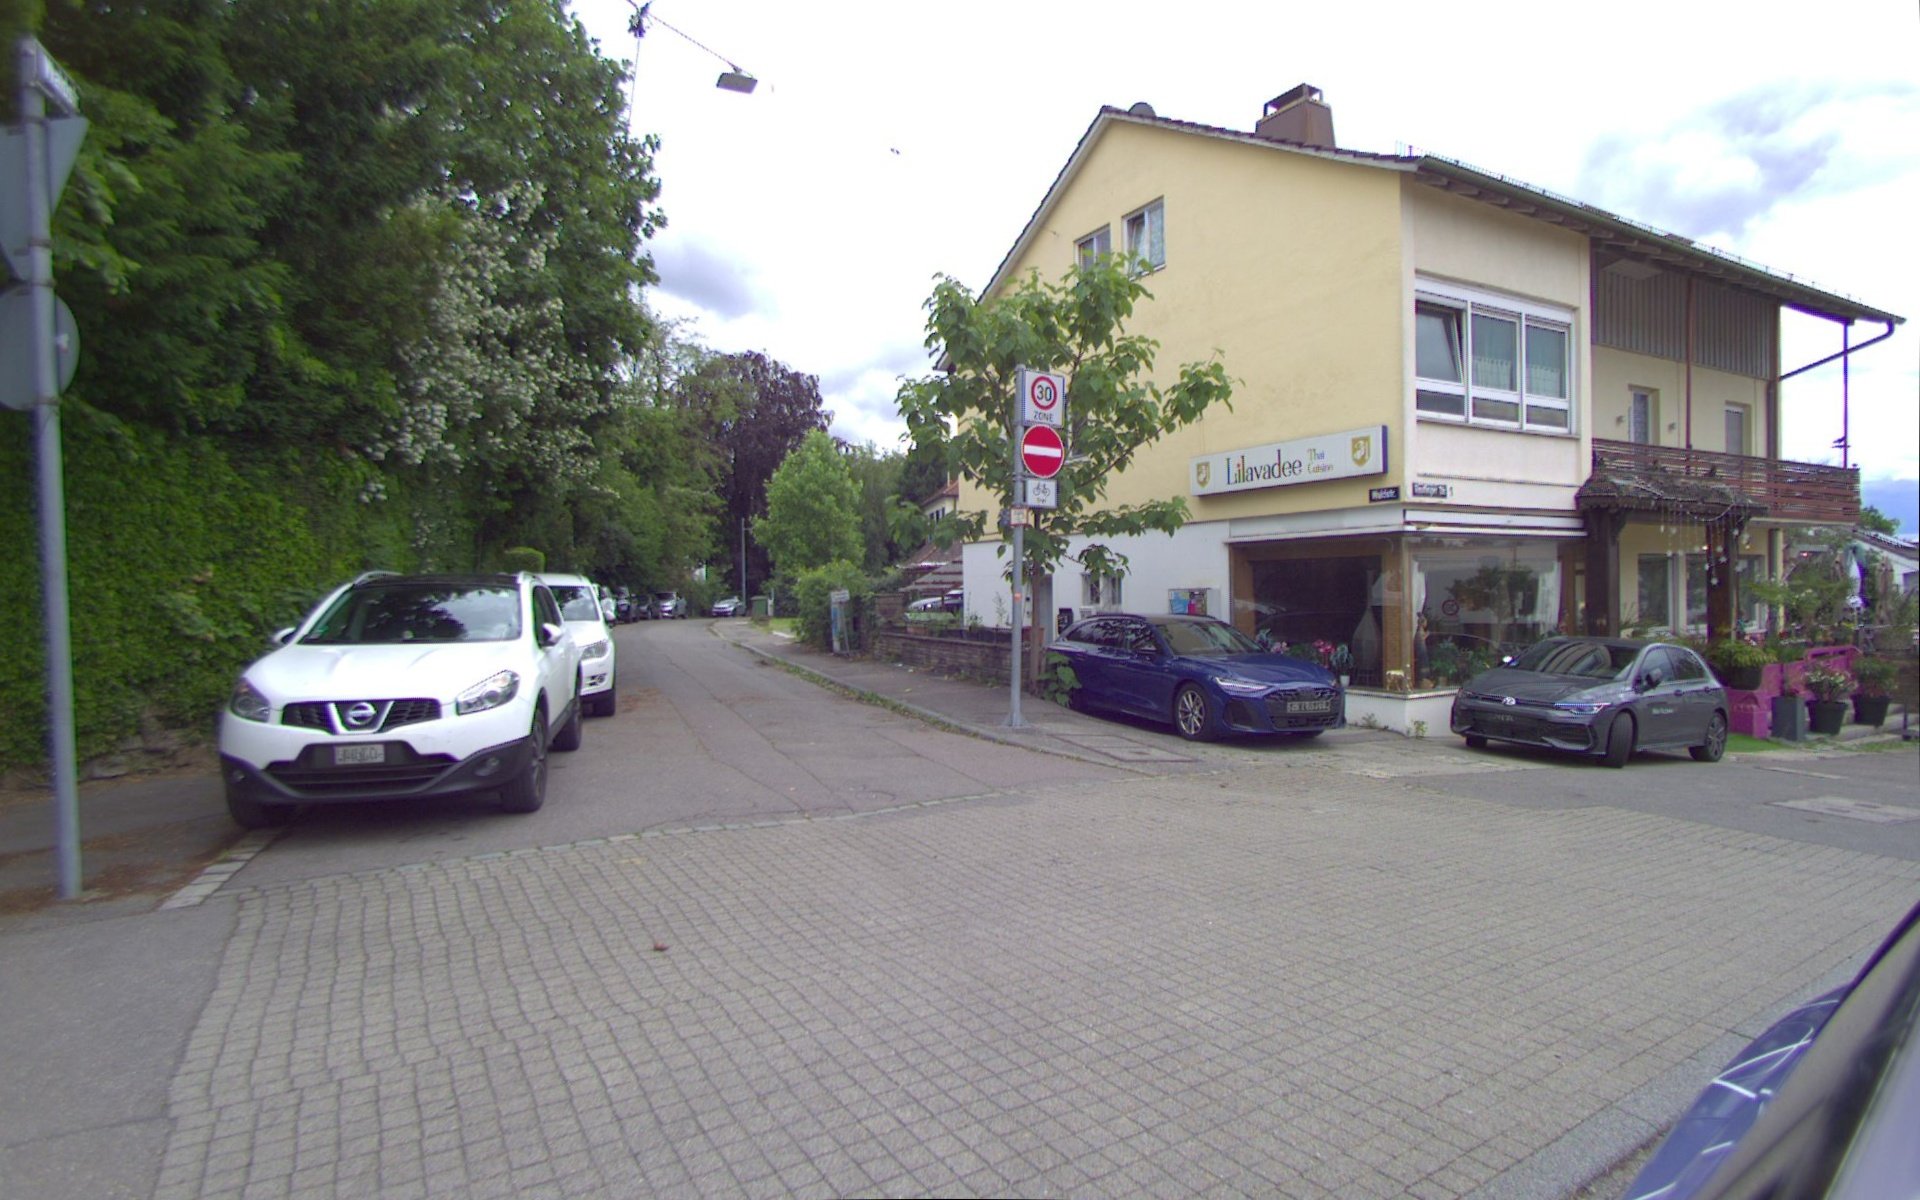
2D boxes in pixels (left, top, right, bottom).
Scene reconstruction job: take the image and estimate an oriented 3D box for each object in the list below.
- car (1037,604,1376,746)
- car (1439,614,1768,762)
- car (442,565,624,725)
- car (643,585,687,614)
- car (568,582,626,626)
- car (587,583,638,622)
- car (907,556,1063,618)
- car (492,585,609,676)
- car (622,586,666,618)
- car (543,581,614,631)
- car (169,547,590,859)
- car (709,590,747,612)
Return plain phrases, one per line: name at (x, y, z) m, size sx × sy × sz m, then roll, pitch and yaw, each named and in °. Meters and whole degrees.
car at (2.913, 0.832, 13.212) m, size 1.761 × 1.405 × 4.758 m, roll 2°, pitch 0°, yaw -23°
car at (7.942, 1.069, 12.373) m, size 4.242 × 1.480 × 1.800 m, roll 5°, pitch -2°, yaw -34°
car at (-5.178, 0.438, 12.611) m, size 1.761 × 1.643 × 4.080 m, roll -1°, pitch 1°, yaw -20°
car at (-16.242, -0.034, 55.796) m, size 1.543 × 1.502 × 3.476 m, roll 0°, pitch 1°, yaw -3°
car at (-13.424, 0.109, 37.547) m, size 1.542 × 1.502 × 3.481 m, roll -1°, pitch 1°, yaw -11°
car at (-14.208, 0.051, 41.527) m, size 1.542 × 1.502 × 3.481 m, roll -1°, pitch 1°, yaw -11°
car at (0.734, -0.368, 30.238) m, size 4.235 × 1.480 × 1.802 m, roll 4°, pitch -2°, yaw -19°
car at (-7.403, 0.455, 18.532) m, size 1.761 × 1.441 × 4.080 m, roll -1°, pitch 1°, yaw -20°
car at (-15.918, 0.081, 51.114) m, size 1.542 × 1.502 × 3.479 m, roll -1°, pitch 1°, yaw -8°
car at (-12.218, 0.144, 32.593) m, size 1.542 × 1.502 × 3.745 m, roll -1°, pitch 1°, yaw -11°
car at (-3.868, 0.511, 7.556) m, size 1.761 × 1.643 × 4.144 m, roll -1°, pitch 1°, yaw -16°
car at (-16.349, 0.036, 71.459) m, size 1.547 × 1.502 × 3.468 m, roll 0°, pitch 1°, yaw 7°
